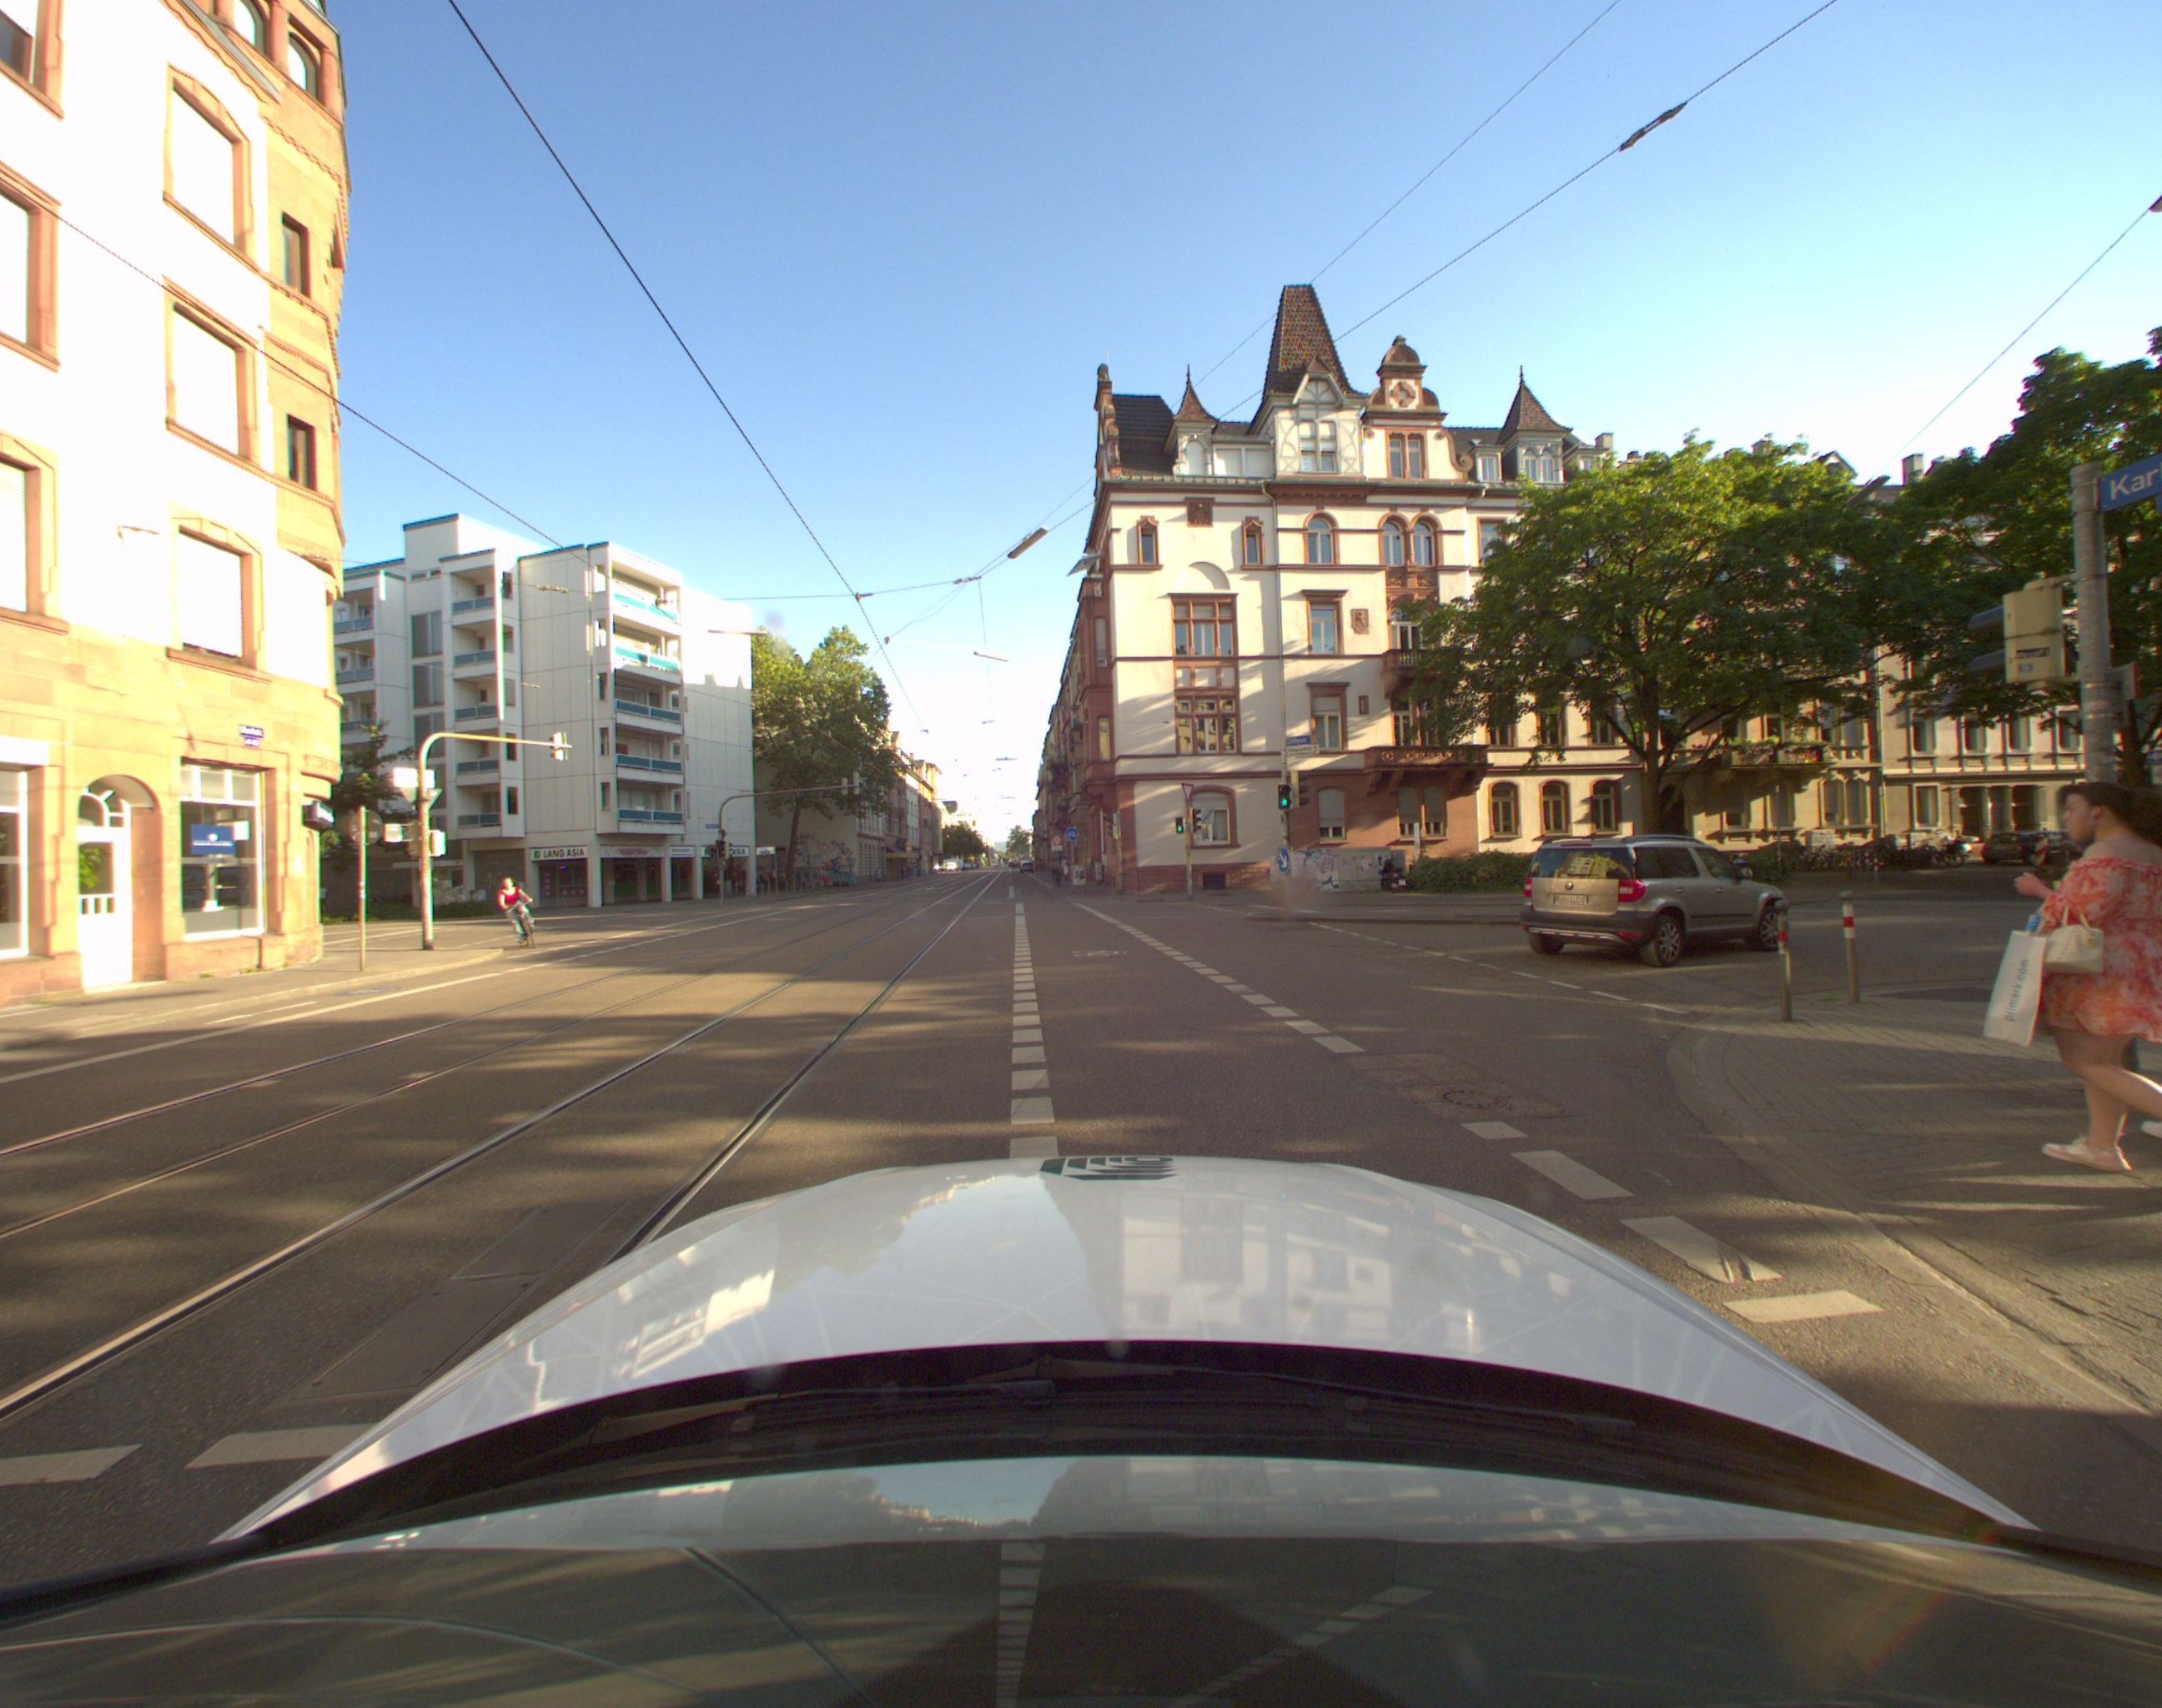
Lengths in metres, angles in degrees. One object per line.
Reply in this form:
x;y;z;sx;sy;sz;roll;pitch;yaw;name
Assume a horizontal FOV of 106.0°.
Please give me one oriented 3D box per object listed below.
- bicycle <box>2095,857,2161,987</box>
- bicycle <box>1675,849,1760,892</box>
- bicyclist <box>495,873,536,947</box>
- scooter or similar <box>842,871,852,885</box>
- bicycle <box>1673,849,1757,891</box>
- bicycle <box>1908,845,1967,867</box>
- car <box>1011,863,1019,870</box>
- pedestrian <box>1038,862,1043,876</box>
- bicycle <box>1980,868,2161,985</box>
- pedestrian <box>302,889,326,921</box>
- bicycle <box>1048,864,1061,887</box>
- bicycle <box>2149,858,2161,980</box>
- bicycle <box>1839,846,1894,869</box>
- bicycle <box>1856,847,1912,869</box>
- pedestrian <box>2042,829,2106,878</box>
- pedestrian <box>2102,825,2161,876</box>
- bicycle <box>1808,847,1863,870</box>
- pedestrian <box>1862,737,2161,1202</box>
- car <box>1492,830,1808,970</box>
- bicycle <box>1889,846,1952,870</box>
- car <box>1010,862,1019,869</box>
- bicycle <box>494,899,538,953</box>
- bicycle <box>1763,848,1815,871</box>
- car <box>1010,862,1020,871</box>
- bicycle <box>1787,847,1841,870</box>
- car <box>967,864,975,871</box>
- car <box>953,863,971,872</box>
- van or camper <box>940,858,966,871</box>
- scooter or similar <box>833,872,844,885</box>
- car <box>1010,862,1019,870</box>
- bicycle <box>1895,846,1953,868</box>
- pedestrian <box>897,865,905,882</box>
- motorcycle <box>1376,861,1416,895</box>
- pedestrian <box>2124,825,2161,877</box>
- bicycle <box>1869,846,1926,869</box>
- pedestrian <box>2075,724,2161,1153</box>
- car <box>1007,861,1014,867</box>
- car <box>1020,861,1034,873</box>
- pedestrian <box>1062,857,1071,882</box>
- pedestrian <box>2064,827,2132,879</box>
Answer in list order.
10.507;0.623;7.240;0.502;1.223;1.919;-2;-2;-1;bicycle
18.189;0.474;23.332;1.840;1.161;0.563;-2;1;32;bicycle
-13.238;1.296;19.055;0.707;1.643;0.979;-1;-1;-38;bicyclist
-19.117;1.966;66.433;0.516;1.057;1.475;-2;-1;-7;scooter or similar
18.523;0.474;23.837;1.840;1.161;0.563;-2;1;32;bicycle
35.927;0.105;34.185;0.490;0.893;1.796;-2;-1;-2;bicycle
-16.572;3.101;204.791;1.991;1.728;3.992;-1;-1;-6;car
-5.353;1.955;106.897;0.543;1.780;0.748;-2;-1;-4;pedestrian
9.756;0.678;7.934;0.774;1.045;1.064;-2;-2;5;bicycle
-41.740;2.767;44.318;0.641;1.696;0.665;-2;-1;18;pedestrian
-1.552;1.232;47.533;0.652;1.323;2.174;-2;-1;-2;bicycle
11.024;0.610;7.233;0.448;1.223;1.919;-2;-2;-1;bicycle
32.465;0.141;33.684;0.490;0.893;1.796;-2;-1;-2;bicycle
33.405;0.169;33.913;0.490;0.893;1.796;-2;-1;-2;bicycle
30.401;-0.013;24.960;0.903;1.428;0.770;-6;-3;27;pedestrian
31.497;-0.112;24.324;0.903;1.428;0.770;-6;-3;27;pedestrian
30.971;0.176;33.458;0.490;0.893;1.796;-2;-1;-2;bicycle
4.293;0.437;3.594;0.802;1.799;0.762;-6;0;3;pedestrian
8.053;0.535;11.523;4.008;1.618;1.983;-2;0;-26;car
33.659;0.179;32.666;1.781;0.893;0.494;-2;-1;9;bicycle
-15.984;2.748;196.294;1.991;1.728;3.992;-1;-1;-6;car
-13.191;1.649;18.996;0.702;1.109;1.876;-1;-1;-39;bicycle
29.032;0.228;33.440;0.490;0.893;1.796;-2;-1;-2;bicycle
-13.276;2.571;164.192;1.991;1.728;3.992;-1;-1;-6;car
30.089;0.199;33.455;0.490;0.893;1.796;-2;-1;-2;bicycle
-30.571;3.809;226.803;1.991;2.014;3.992;-2;-1;-6;car
-29.203;3.288;199.838;4.012;2.014;1.981;-2;-1;-30;car
-25.898;2.049;165.084;4.670;2.563;1.978;-1;-1;-36;van or camper
-19.756;1.987;66.336;0.516;1.045;1.475;-2;-1;-7;scooter or similar
-15.520;2.723;189.788;1.991;1.728;3.992;-1;-1;-6;car
35.273;0.121;34.098;0.490;0.893;1.796;-2;-1;-2;bicycle
-18.370;1.959;83.198;0.700;1.728;0.646;-2;-1;-5;pedestrian
10.852;0.799;28.164;0.715;1.020;2.291;-2;2;7;motorcycle
30.891;-0.103;23.328;0.903;1.428;0.770;-6;-3;28;pedestrian
34.075;0.151;34.001;0.490;0.893;1.796;-2;-1;-2;bicycle
5.146;0.369;3.535;0.688;1.909;0.670;-1;-3;1;pedestrian
-20.670;2.966;238.772;1.991;1.728;3.992;-1;-1;-6;car
-7.747;1.844;116.477;1.946;1.684;3.994;-2;-1;-4;car
-1.085;1.149;59.814;0.543;1.780;0.503;-2;-1;-4;pedestrian
29.958;-0.018;24.014;0.903;1.428;0.770;-6;-3;28;pedestrian
